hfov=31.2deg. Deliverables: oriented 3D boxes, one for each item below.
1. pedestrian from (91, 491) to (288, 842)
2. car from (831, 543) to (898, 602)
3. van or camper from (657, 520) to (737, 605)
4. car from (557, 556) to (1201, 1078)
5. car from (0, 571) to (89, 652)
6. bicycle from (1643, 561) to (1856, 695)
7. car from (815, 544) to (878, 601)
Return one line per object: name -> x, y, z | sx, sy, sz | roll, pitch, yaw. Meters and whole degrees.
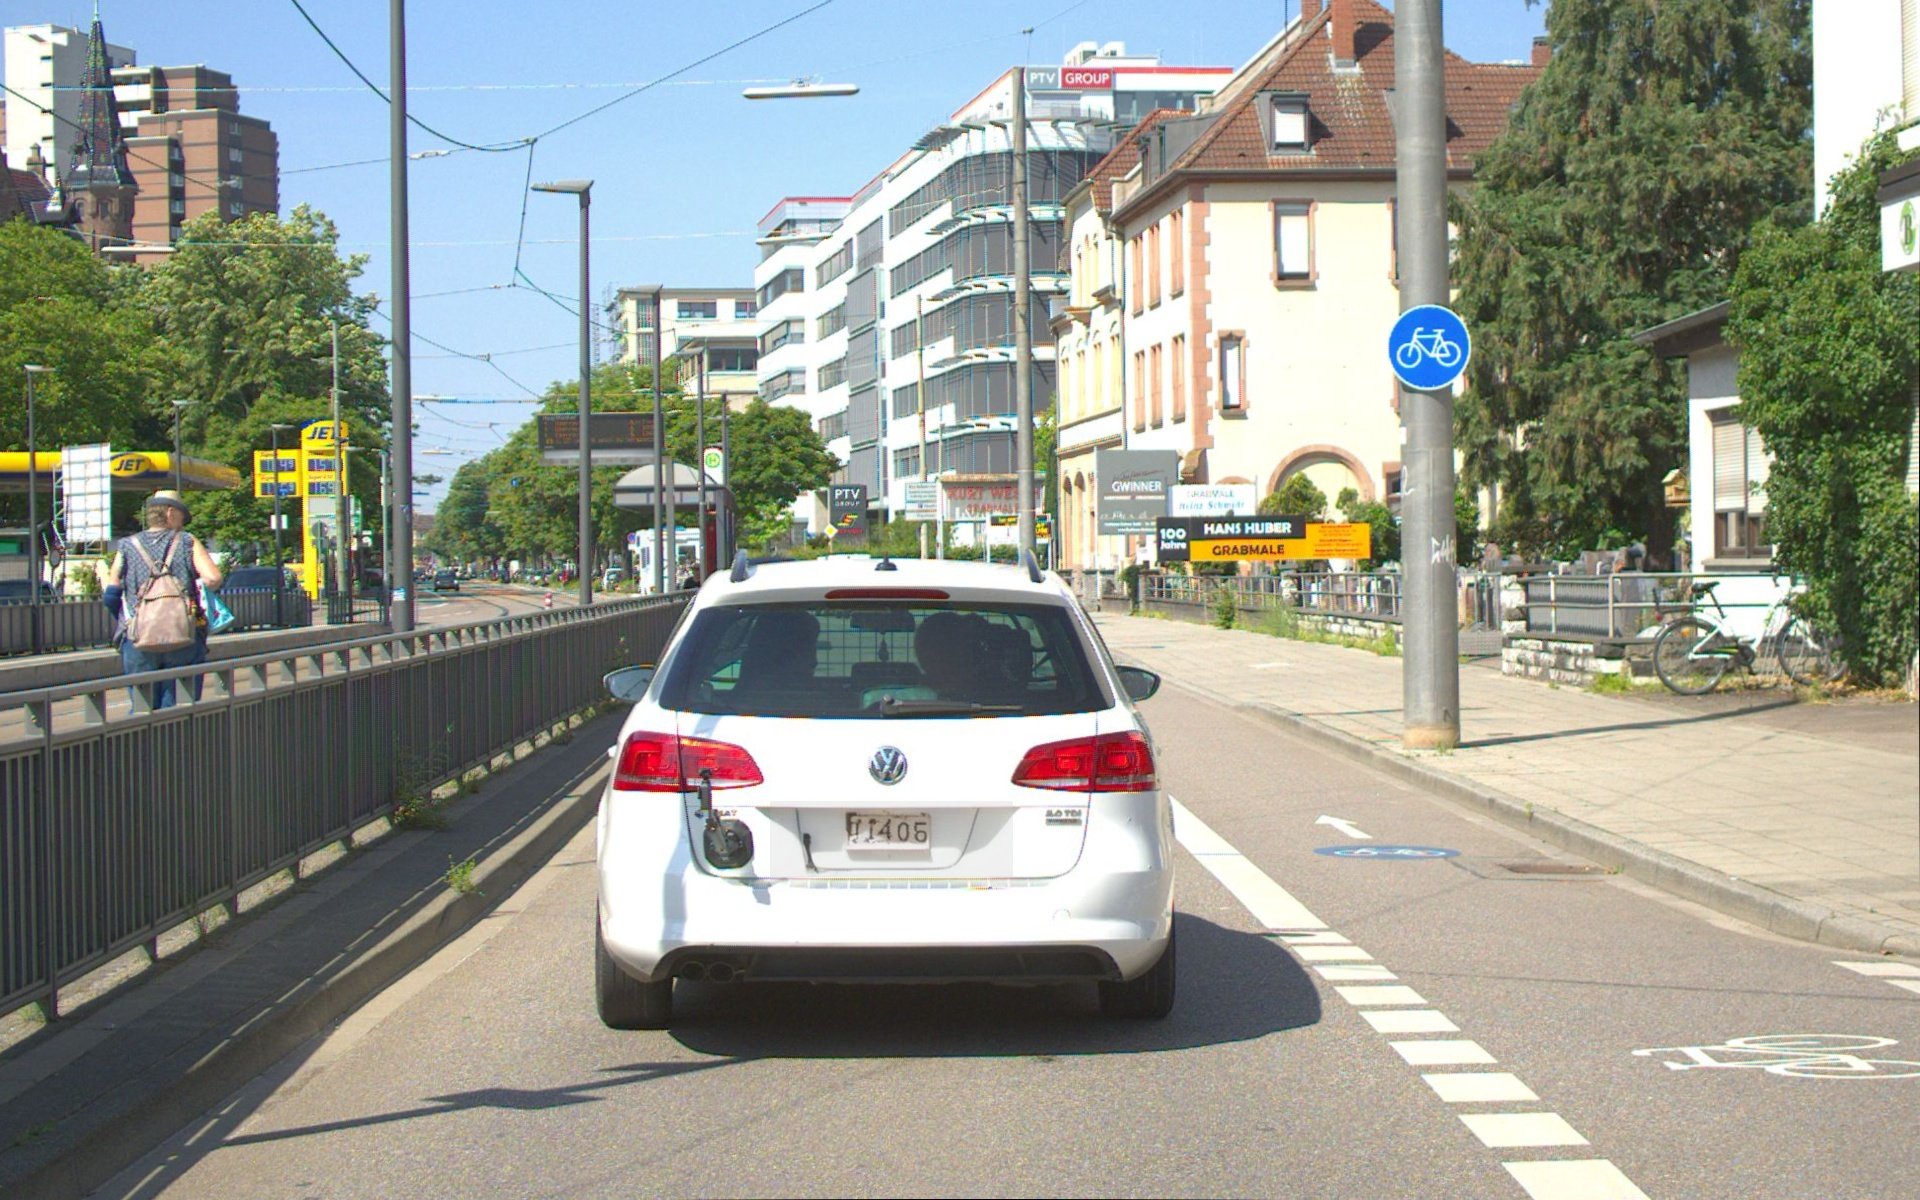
pedestrian -> -4.075, 0.341, 18.242 | 0.826, 1.803, 0.833 | -1, 1, -1
car -> -3.364, -0.980, 120.476 | 1.993, 2.007, 4.001 | -1, 1, -6
van or camper -> -10.265, -1.480, 133.737 | 2.943, 3.169, 6.614 | -1, 1, -5
car -> -0.260, 0.576, 11.428 | 1.752, 1.413, 3.853 | 1, 1, -1
car -> -17.724, 0.207, 65.208 | 1.572, 1.454, 3.738 | -1, 1, -3
bicycle -> 6.875, 0.239, 29.957 | 1.712, 1.126, 0.525 | -1, 0, 1
car -> -4.169, -1.022, 125.885 | 1.993, 2.007, 4.001 | -1, 1, -6
